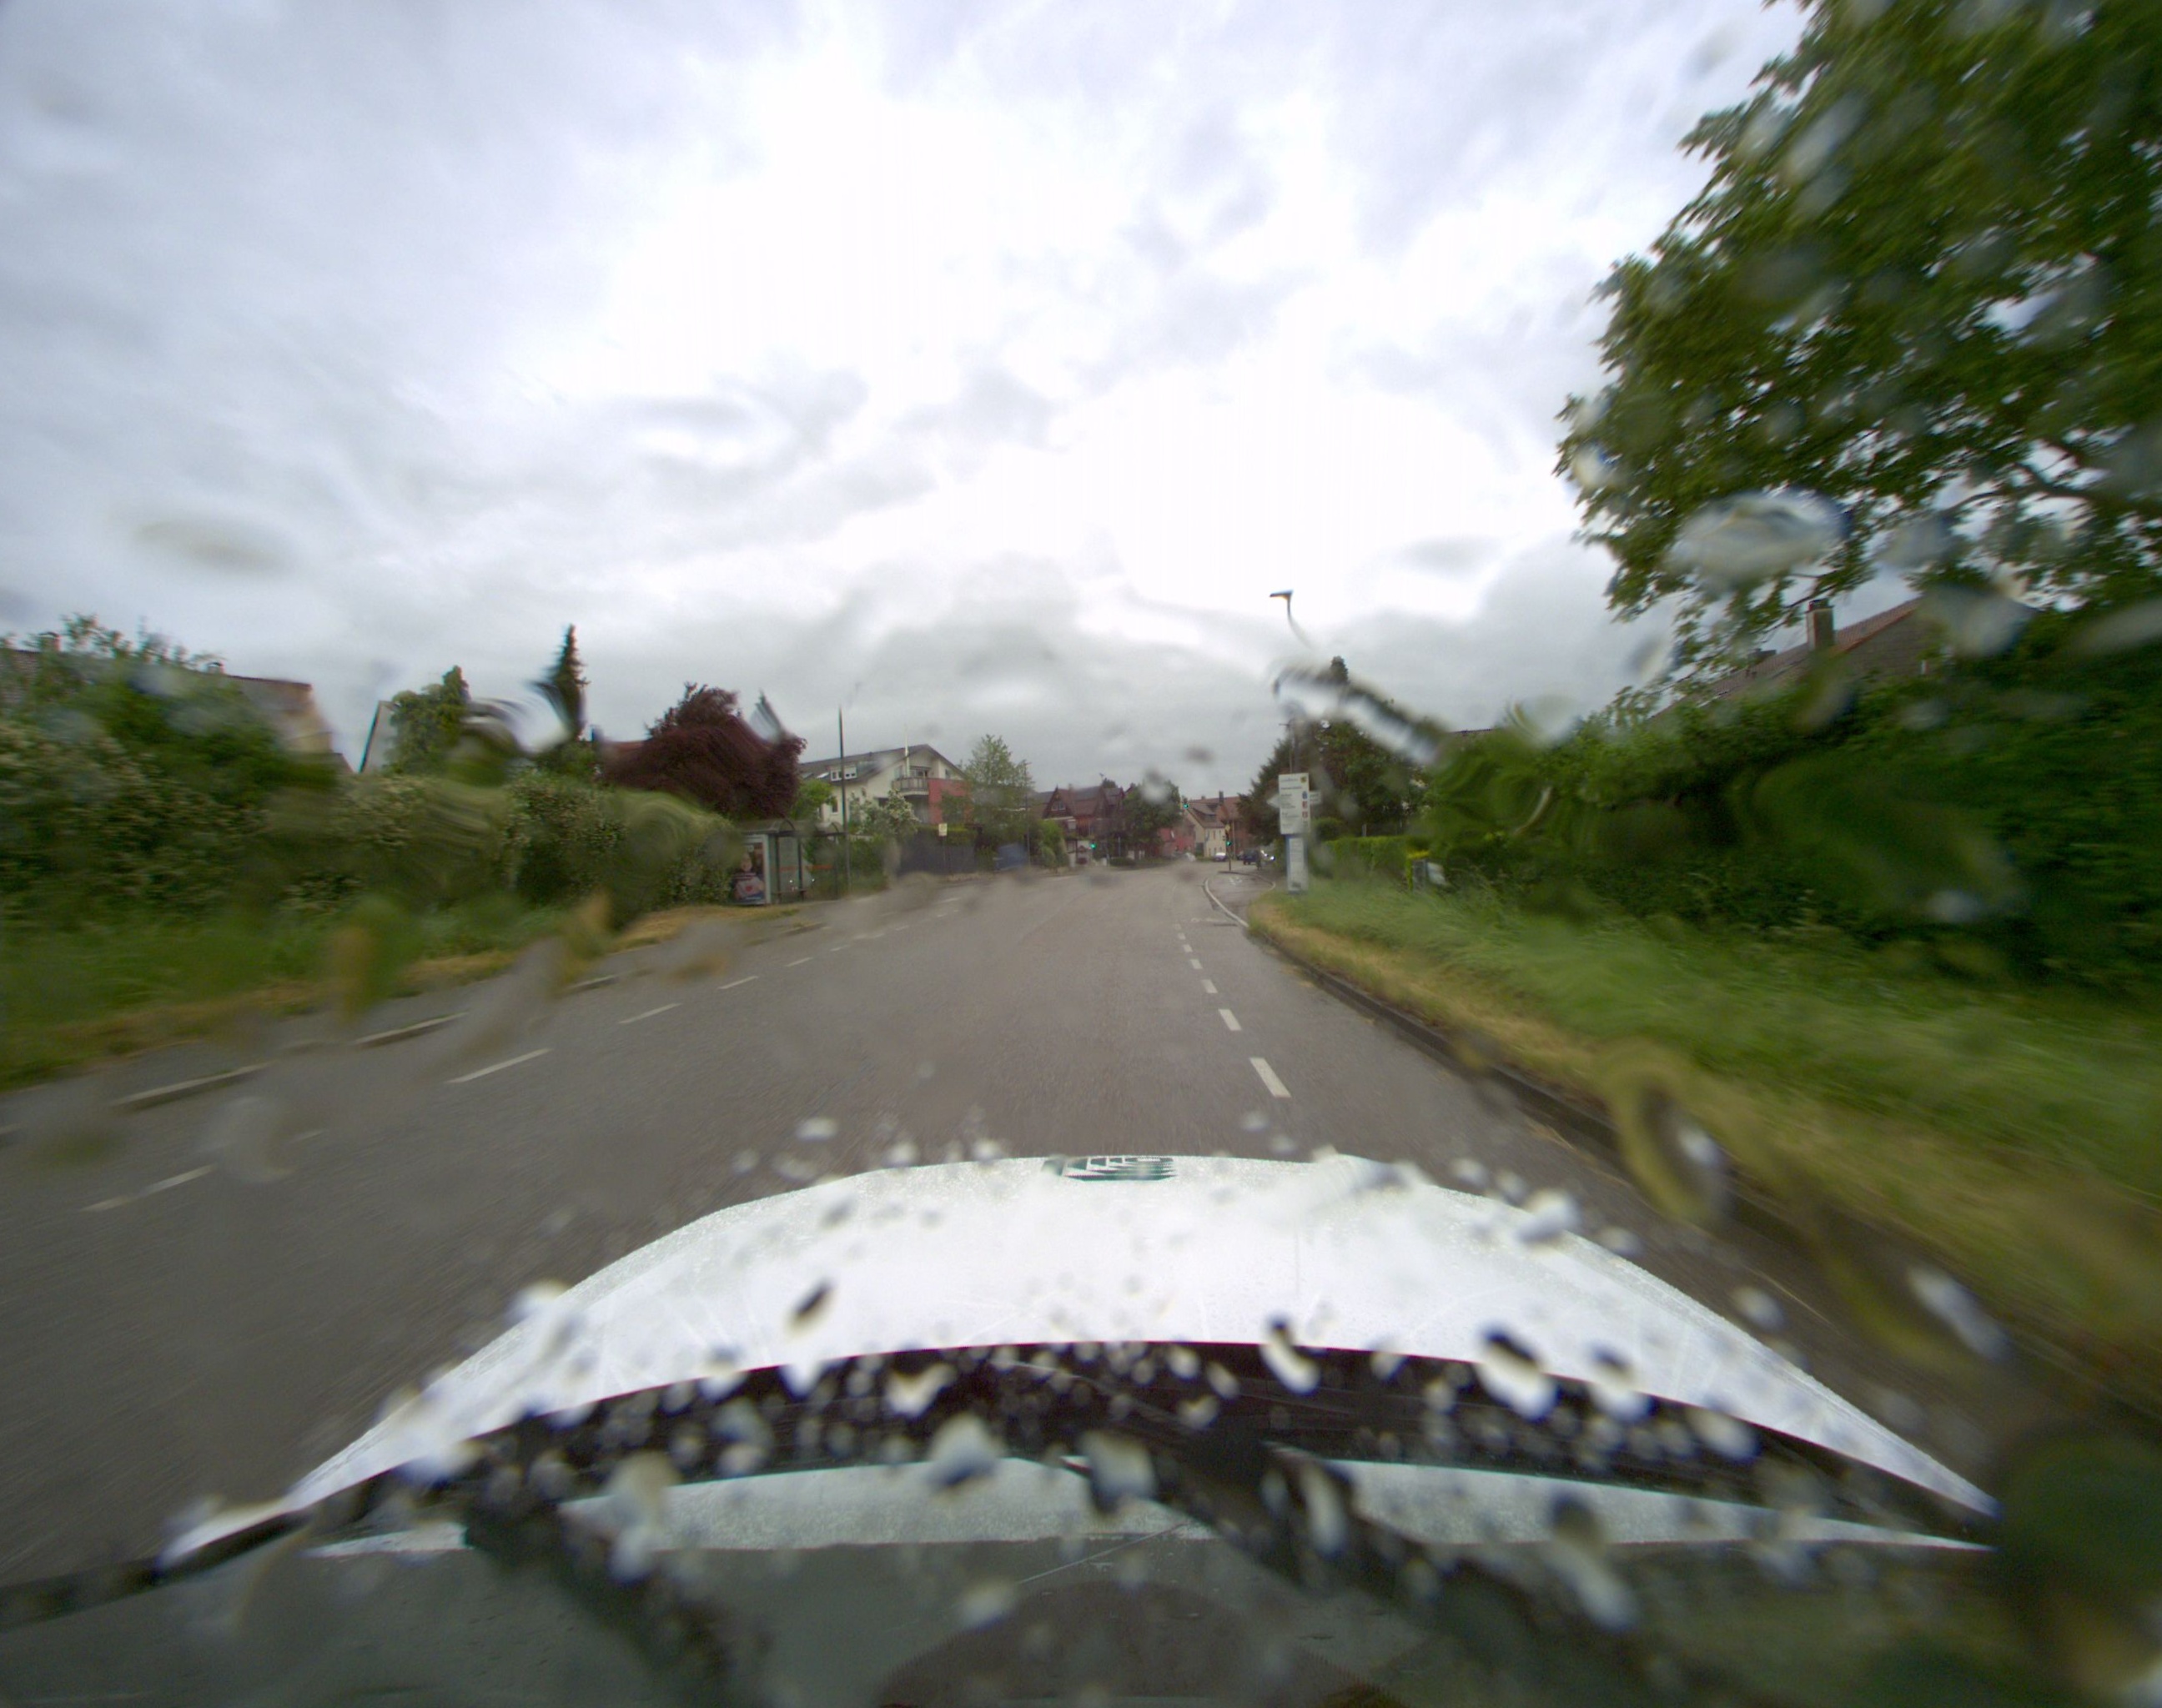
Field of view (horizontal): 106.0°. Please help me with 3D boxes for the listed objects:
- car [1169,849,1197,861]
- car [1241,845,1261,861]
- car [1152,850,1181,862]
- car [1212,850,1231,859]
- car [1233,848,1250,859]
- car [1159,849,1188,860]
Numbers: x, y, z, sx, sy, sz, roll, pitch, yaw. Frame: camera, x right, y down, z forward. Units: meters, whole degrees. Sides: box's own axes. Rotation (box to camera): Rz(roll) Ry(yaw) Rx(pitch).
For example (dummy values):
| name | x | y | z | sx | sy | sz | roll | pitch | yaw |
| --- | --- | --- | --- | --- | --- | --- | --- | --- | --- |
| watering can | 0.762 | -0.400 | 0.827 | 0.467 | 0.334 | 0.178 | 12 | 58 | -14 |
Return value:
| name | x | y | z | sx | sy | sz | roll | pitch | yaw |
| --- | --- | --- | --- | --- | --- | --- | --- | --- | --- |
| car | 14.464 | 0.149 | 115.516 | 3.428 | 1.479 | 1.601 | -3 | -1 | 31 |
| car | 21.312 | -0.122 | 101.827 | 1.915 | 1.902 | 4.816 | -1 | 0 | 18 |
| car | 11.488 | 0.313 | 109.891 | 3.412 | 1.418 | 1.643 | -3 | -1 | 31 |
| car | 20.375 | 0.056 | 117.919 | 1.611 | 1.355 | 4.136 | 0 | 1 | 28 |
| car | 25.104 | -0.146 | 127.143 | 1.590 | 1.617 | 3.297 | -3 | -1 | 29 |
| car | 12.754 | 0.045 | 112.001 | 3.541 | 1.506 | 1.867 | 0 | 1 | 33 |
